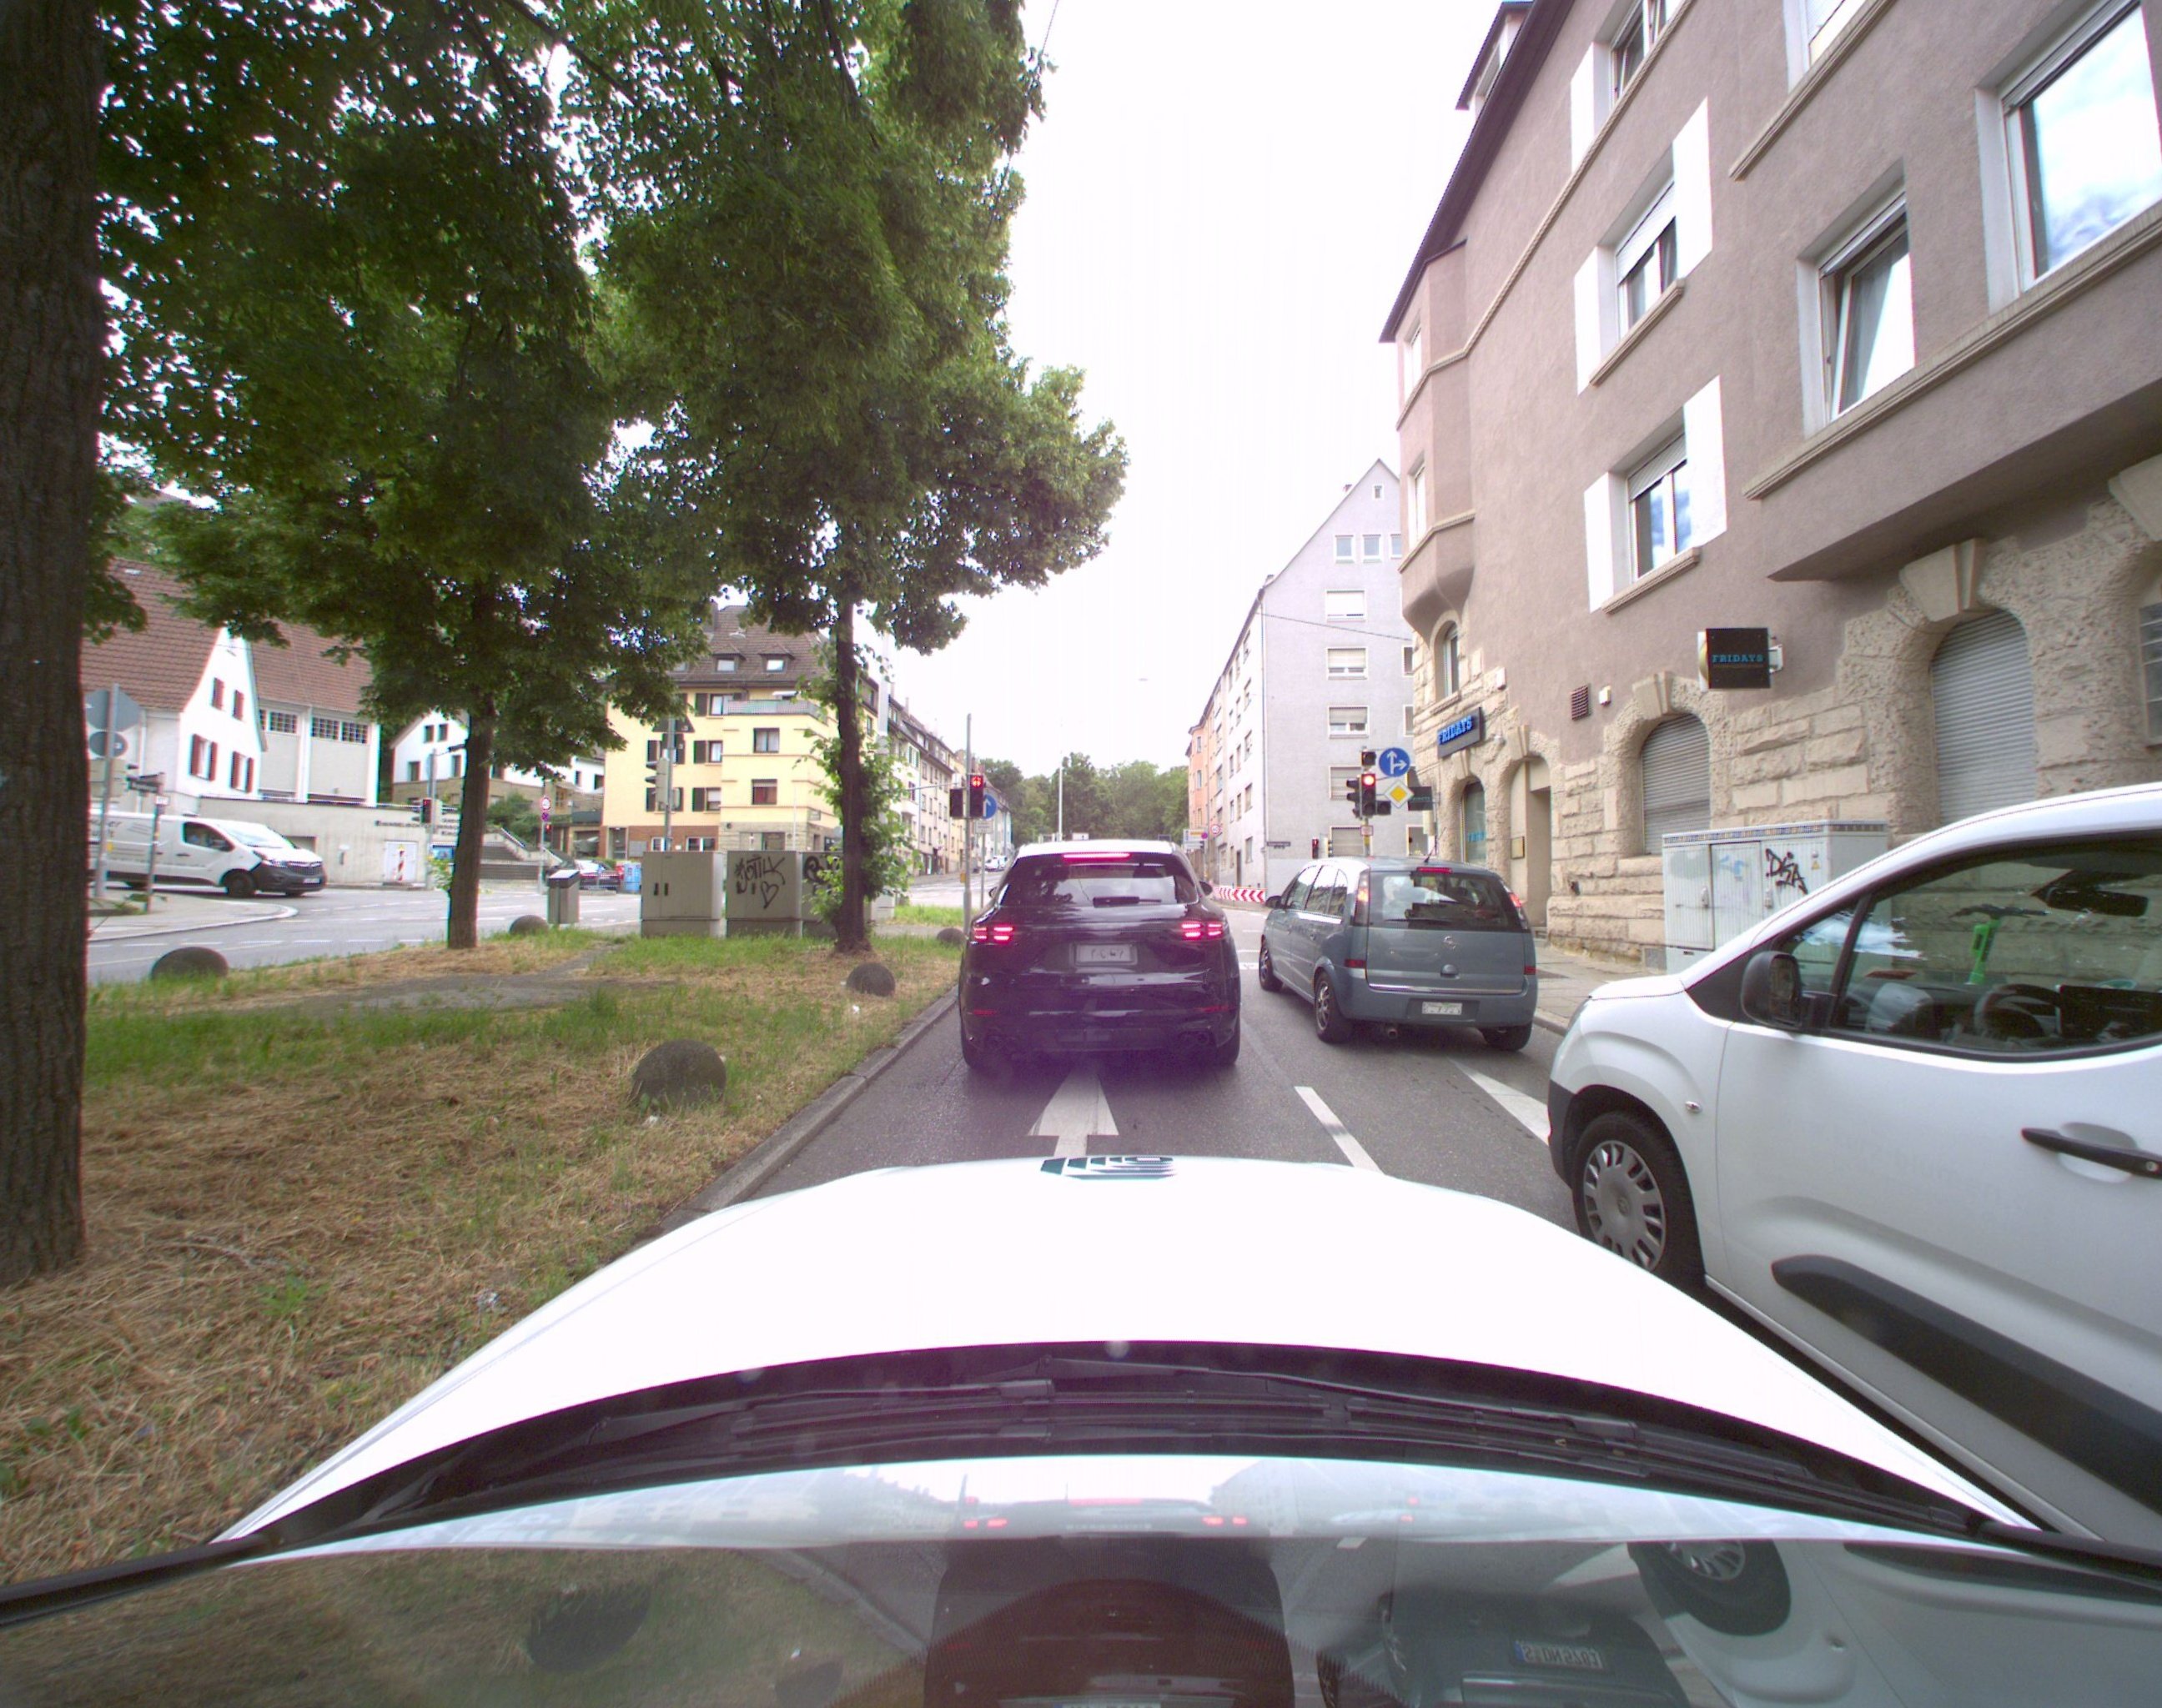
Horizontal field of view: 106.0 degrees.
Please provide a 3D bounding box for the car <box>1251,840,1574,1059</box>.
[{"bbox_3d":[2.928,0.741,8.079,1.746,1.593,3.631,3,0,1],"label":"car"}]

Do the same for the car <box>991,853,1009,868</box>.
[{"bbox_3d":[-10.307,0.842,104.198,1.787,1.810,4.001,0,0,1],"label":"car"}]

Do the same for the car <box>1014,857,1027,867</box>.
[{"bbox_3d":[-9.660,1.285,130.483,1.787,1.510,4.001,0,0,1],"label":"car"}]

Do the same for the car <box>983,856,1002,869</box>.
[{"bbox_3d":[-10.724,1.018,99.180,1.787,1.510,4.001,0,0,1],"label":"car"}]

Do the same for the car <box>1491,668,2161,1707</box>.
[{"bbox_3d":[2.764,0.623,1.675,1.840,1.825,5.029,1,-1,7],"label":"car"}]

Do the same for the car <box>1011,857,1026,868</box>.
[{"bbox_3d":[-9.617,1.298,125.580,1.787,1.510,4.001,0,0,1],"label":"car"}]

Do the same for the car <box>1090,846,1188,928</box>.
[{"bbox_3d":[1.321,0.698,18.798,1.986,1.653,4.004,-1,-1,3],"label":"car"}]

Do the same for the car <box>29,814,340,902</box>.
[{"bbox_3d":[-22.896,0.127,21.049,5.168,2.064,1.988,1,-1,-11],"label":"car"}]

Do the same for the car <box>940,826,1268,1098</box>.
[{"bbox_3d":[0.263,0.657,7.006,1.986,1.653,4.004,-1,0,3],"label":"car"}]

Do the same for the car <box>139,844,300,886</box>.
[{"bbox_3d":[-32.485,0.398,30.895,4.021,1.510,1.779,0,0,-41],"label":"car"}]

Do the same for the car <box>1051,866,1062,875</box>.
[{"bbox_3d":[-4.565,3.088,153.206,1.788,1.510,4.000,0,-2,1],"label":"car"}]

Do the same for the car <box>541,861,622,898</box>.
[{"bbox_3d":[-23.880,1.227,38.882,3.948,1.665,1.894,-2,-2,36],"label":"car"}]
